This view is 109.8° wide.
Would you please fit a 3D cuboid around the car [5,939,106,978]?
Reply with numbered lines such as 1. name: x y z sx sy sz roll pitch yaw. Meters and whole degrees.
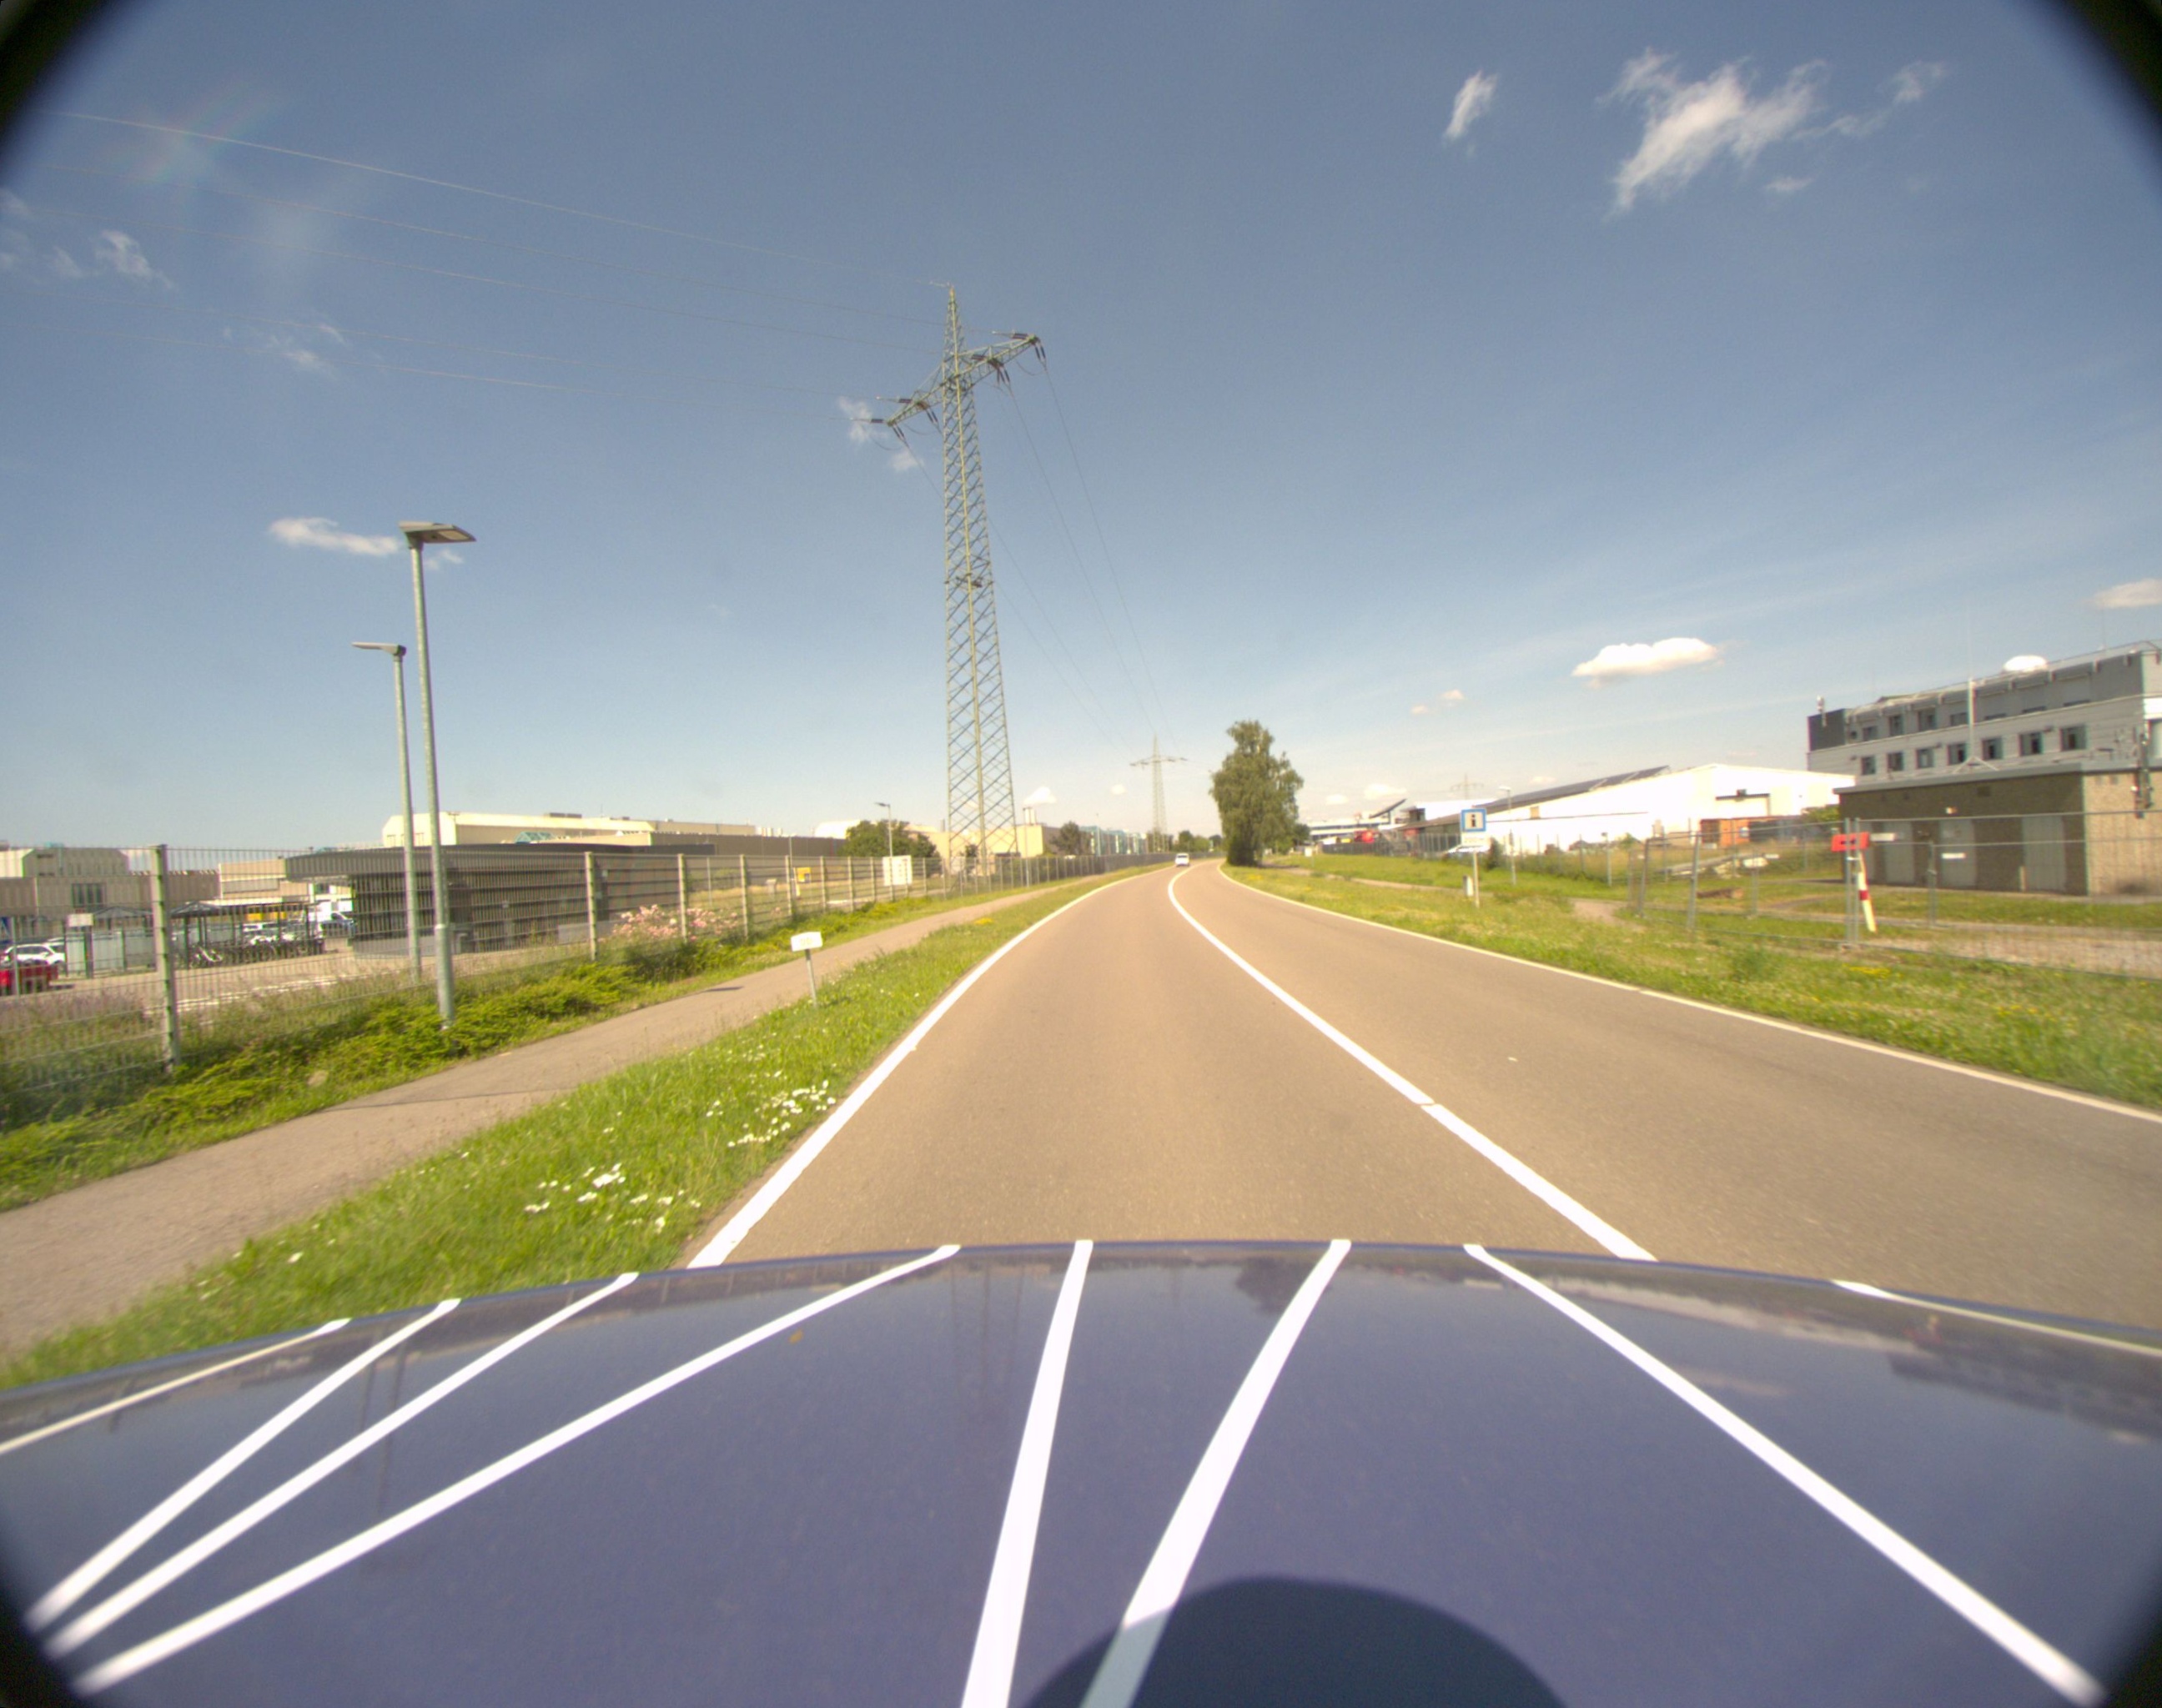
1. car: -49.311 5.022 36.558 3.054 1.525 1.472 -4 0 6

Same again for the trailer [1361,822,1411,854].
1. trailer: 37.649 -1.934 94.431 3.296 3.624 14.937 -2 1 12

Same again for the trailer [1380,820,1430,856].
1. trailer: 35.196 -1.754 82.907 3.405 3.624 8.665 -2 1 12

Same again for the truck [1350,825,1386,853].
1. truck: 40.274 -2.128 106.910 3.106 3.624 10.602 -2 1 12

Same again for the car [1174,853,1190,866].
1. car: 14.455 0.784 108.577 1.835 1.796 4.834 -2 0 12

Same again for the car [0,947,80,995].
1. car: -39.434 4.353 28.052 3.149 1.525 1.456 -4 0 5

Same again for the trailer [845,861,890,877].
1. trailer: -42.247 2.868 150.705 1.997 2.697 14.109 -2 1 13
